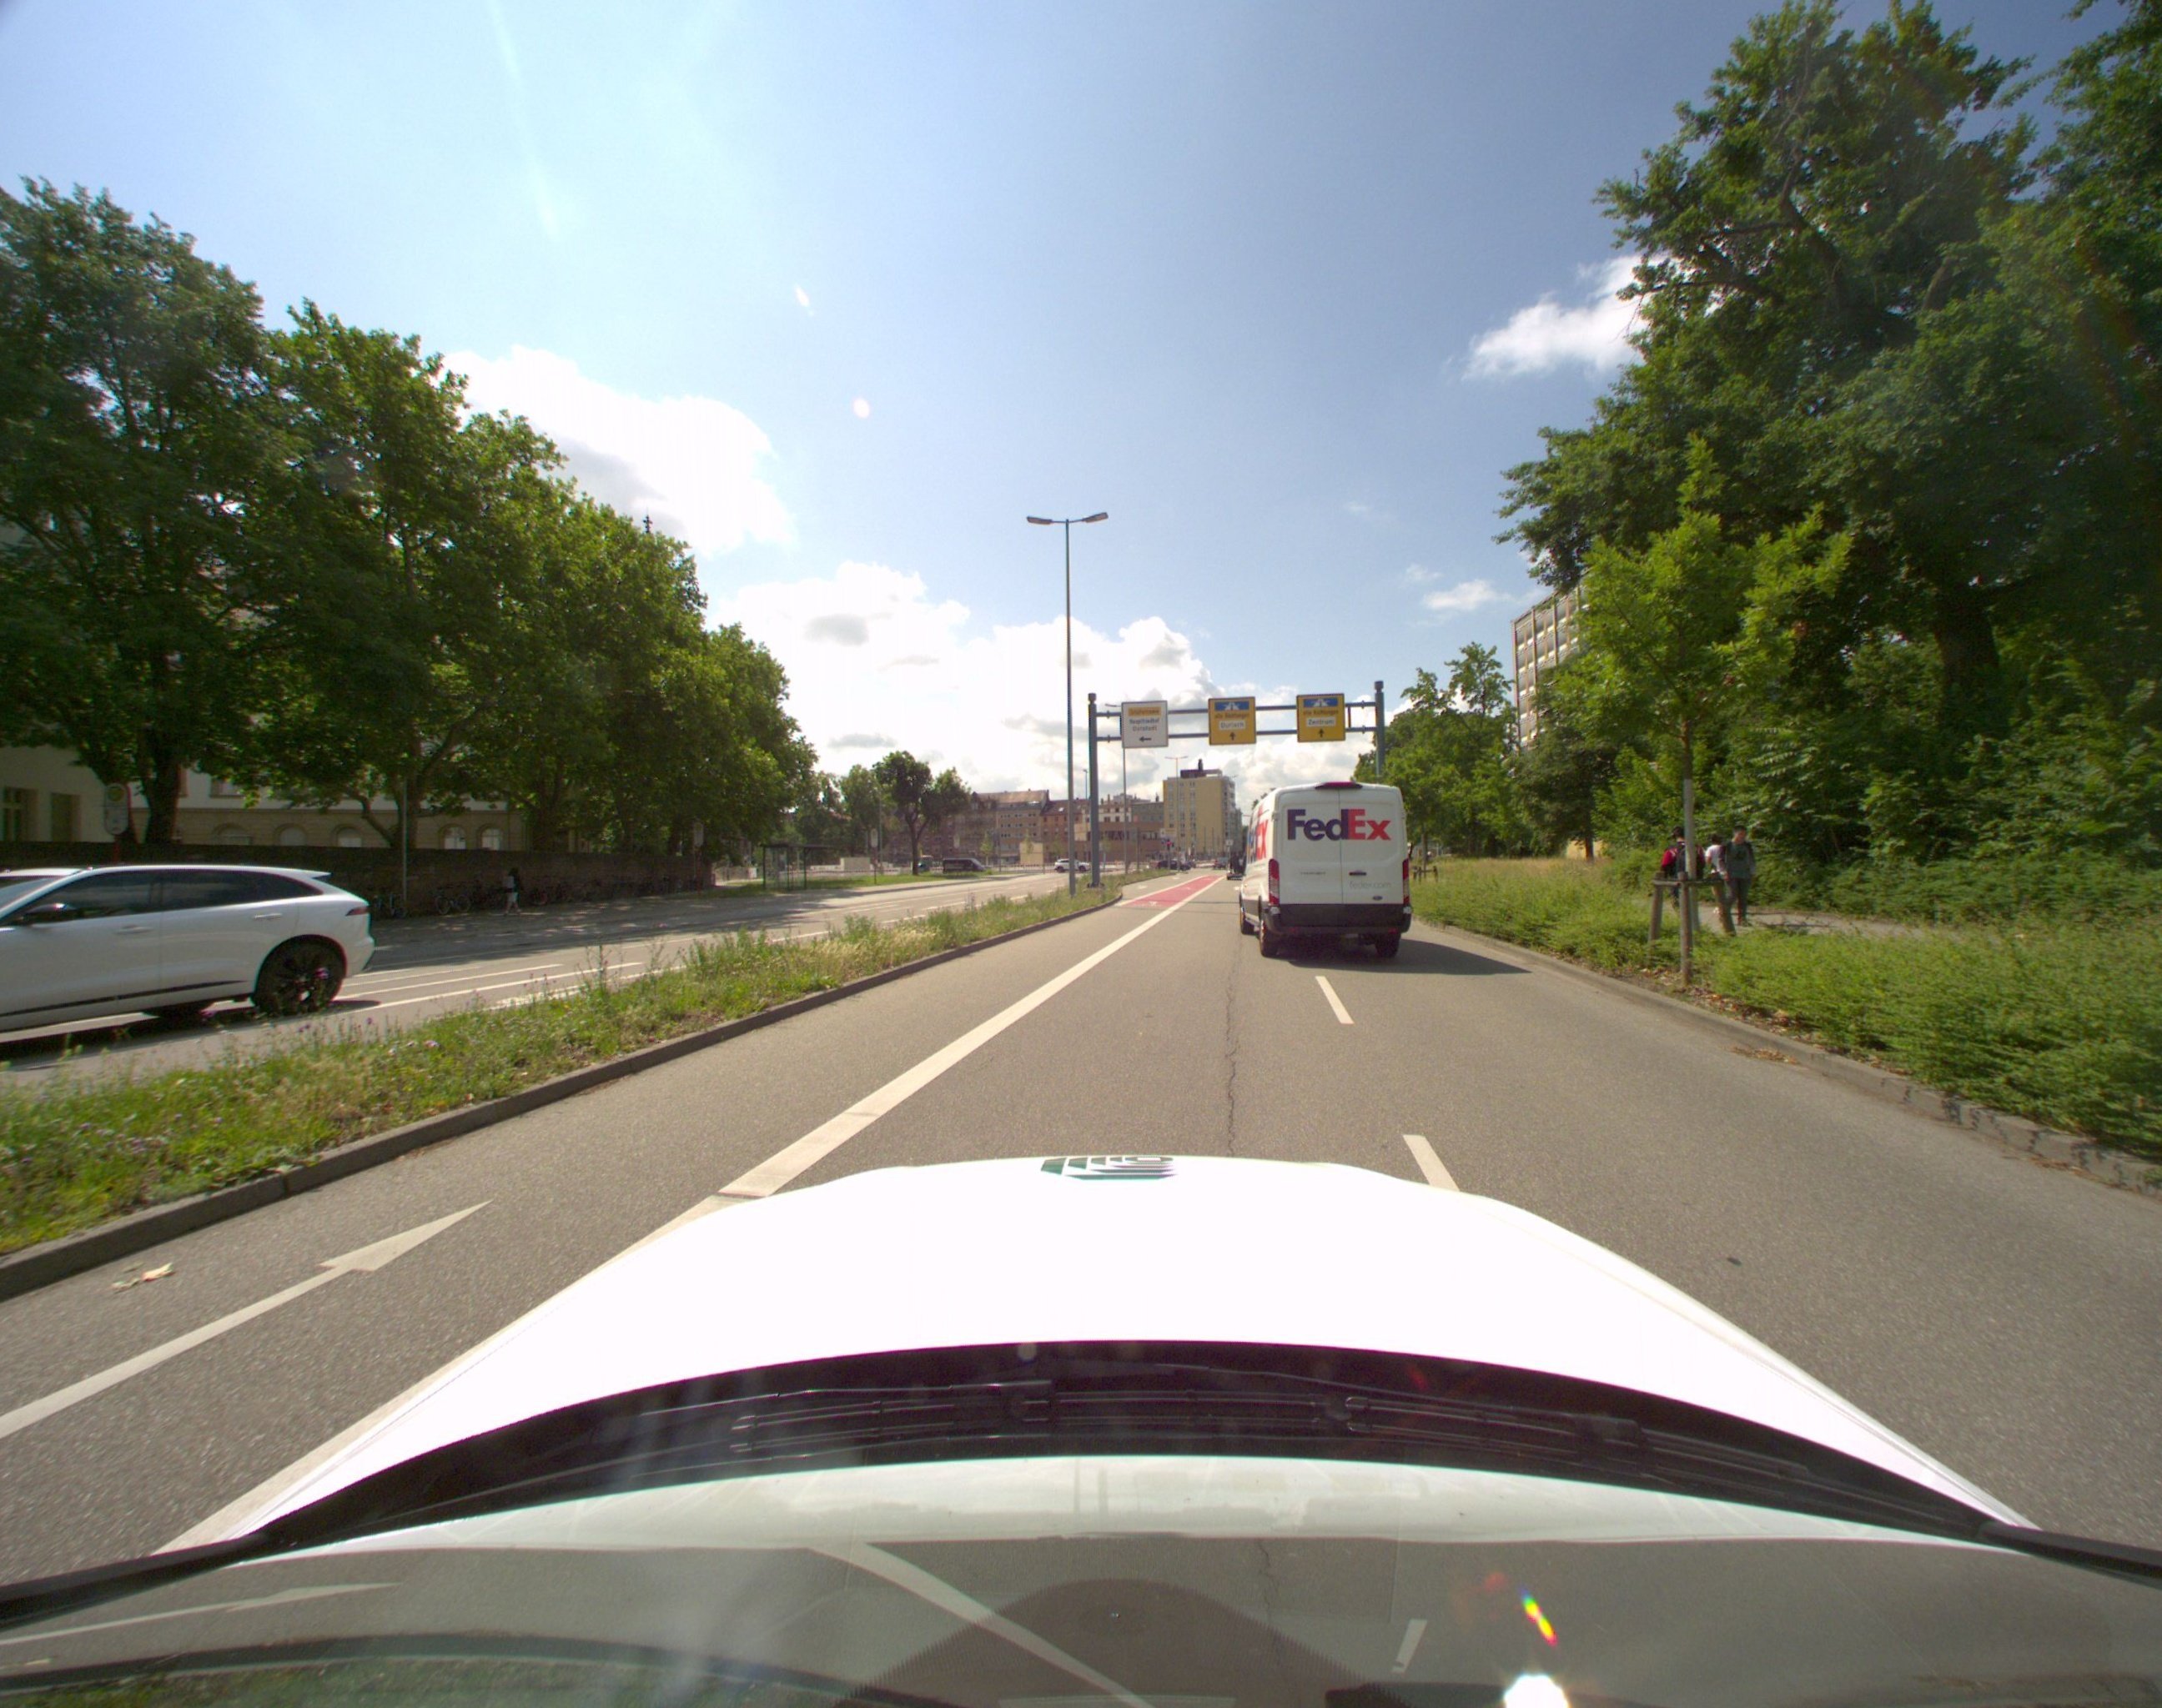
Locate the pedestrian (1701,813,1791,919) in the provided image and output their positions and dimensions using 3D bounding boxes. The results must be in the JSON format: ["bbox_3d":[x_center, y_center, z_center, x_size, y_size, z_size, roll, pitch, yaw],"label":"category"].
[{"bbox_3d":[11.258,0.205,13.828,0.808,1.721,0.932,-1,-1,12],"label":"pedestrian"}]

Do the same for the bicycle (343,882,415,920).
[{"bbox_3d":[-21.164,1.403,24.597,0.542,1.047,1.894,-1,0,-1],"label":"bicycle"}]

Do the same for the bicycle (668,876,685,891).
[{"bbox_3d":[-24.812,1.807,49.978,0.452,0.902,1.788,-1,0,-10],"label":"bicycle"}]

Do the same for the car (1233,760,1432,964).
[{"bbox_3d":[3.844,0.118,13.604,2.129,2.652,5.715,-1,0,7],"label":"car"}]

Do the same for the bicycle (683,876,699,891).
[{"bbox_3d":[-25.583,1.918,53.442,0.543,0.902,1.660,-1,0,-10],"label":"bicycle"}]

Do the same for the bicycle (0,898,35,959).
[{"bbox_3d":[-21.129,1.467,15.520,0.532,1.152,1.588,-1,0,-11],"label":"bicycle"}]

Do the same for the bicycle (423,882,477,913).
[{"bbox_3d":[-21.172,1.435,27.373,0.542,0.949,1.664,-1,0,-1],"label":"bicycle"}]

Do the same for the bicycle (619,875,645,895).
[{"bbox_3d":[-22.941,1.582,41.628,0.543,0.951,1.662,-1,0,-6],"label":"bicycle"}]

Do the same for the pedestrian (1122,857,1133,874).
[{"bbox_3d":[4.408,1.085,77.114,0.875,1.560,0.552,-1,0,-17],"label":"pedestrian"}]

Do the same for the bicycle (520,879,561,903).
[{"bbox_3d":[-21.774,1.486,32.853,0.542,0.902,1.664,-1,0,-1],"label":"bicycle"}]

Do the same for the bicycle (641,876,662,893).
[{"bbox_3d":[-23.669,1.682,44.917,0.543,0.902,1.660,-1,0,-10],"label":"bicycle"}]

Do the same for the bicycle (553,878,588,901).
[{"bbox_3d":[-22.096,1.540,35.276,0.542,0.902,1.663,-1,0,-4],"label":"bicycle"}]

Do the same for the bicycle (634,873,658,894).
[{"bbox_3d":[-23.109,1.563,43.312,0.543,1.051,1.620,-1,0,-6],"label":"bicycle"}]

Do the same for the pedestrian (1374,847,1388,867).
[{"bbox_3d":[23.742,0.222,64.486,0.839,1.539,0.837,-1,0,10],"label":"pedestrian"}]

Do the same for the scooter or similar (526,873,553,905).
[{"bbox_3d":[-21.028,1.338,31.649,0.432,1.183,1.189,-1,0,-10],"label":"scooter or similar"}]

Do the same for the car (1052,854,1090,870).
[{"bbox_3d":[-1.184,0.946,98.436,4.335,1.794,2.003,-1,-1,6],"label":"car"}]

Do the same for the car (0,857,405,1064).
[{"bbox_3d":[-9.674,0.900,7.690,2.057,1.667,4.791,-1,0,12],"label":"car"}]

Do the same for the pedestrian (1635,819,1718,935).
[{"bbox_3d":[9.186,0.349,12.596,0.711,1.721,0.840,-1,-1,12],"label":"pedestrian"}]

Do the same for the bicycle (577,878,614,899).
[{"bbox_3d":[-22.078,1.560,37.050,0.499,0.902,1.669,-1,0,7],"label":"bicycle"}]

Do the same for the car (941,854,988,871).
[{"bbox_3d":[-13.493,0.947,94.286,4.981,1.879,1.933,-1,0,7],"label":"car"}]

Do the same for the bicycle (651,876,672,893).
[{"bbox_3d":[-23.995,1.725,46.606,0.543,0.902,1.660,-1,0,-10],"label":"bicycle"}]

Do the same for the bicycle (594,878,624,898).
[{"bbox_3d":[-22.526,1.604,38.906,0.543,0.902,1.662,-1,0,-5],"label":"bicycle"}]

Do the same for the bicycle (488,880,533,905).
[{"bbox_3d":[-21.659,1.456,30.944,0.542,0.902,1.664,-1,-1,-1],"label":"bicycle"}]

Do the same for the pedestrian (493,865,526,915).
[{"bbox_3d":[-18.782,1.164,26.773,0.615,1.617,0.755,0,-1,-11],"label":"pedestrian"}]

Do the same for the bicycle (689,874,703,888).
[{"bbox_3d":[-26.223,1.817,55.419,0.544,0.902,1.657,-1,0,-15],"label":"bicycle"}]

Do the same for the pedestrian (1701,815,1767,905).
[{"bbox_3d":[12.902,0.126,16.110,0.718,1.721,0.749,-1,-1,12],"label":"pedestrian"}]

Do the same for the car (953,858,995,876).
[{"bbox_3d":[-13.102,1.602,99.797,4.605,2.014,2.103,-1,-1,6],"label":"car"}]

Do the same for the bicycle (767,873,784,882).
[{"bbox_3d":[-37.842,2.893,100.782,1.912,1.030,0.548,-1,0,3],"label":"bicycle"}]

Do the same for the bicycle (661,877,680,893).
[{"bbox_3d":[-24.337,1.819,48.262,0.543,0.902,1.660,-1,0,-10],"label":"bicycle"}]

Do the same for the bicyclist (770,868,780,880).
[{"bbox_3d":[-37.898,2.514,100.793,0.964,1.474,0.552,-1,0,3],"label":"bicyclist"}]
